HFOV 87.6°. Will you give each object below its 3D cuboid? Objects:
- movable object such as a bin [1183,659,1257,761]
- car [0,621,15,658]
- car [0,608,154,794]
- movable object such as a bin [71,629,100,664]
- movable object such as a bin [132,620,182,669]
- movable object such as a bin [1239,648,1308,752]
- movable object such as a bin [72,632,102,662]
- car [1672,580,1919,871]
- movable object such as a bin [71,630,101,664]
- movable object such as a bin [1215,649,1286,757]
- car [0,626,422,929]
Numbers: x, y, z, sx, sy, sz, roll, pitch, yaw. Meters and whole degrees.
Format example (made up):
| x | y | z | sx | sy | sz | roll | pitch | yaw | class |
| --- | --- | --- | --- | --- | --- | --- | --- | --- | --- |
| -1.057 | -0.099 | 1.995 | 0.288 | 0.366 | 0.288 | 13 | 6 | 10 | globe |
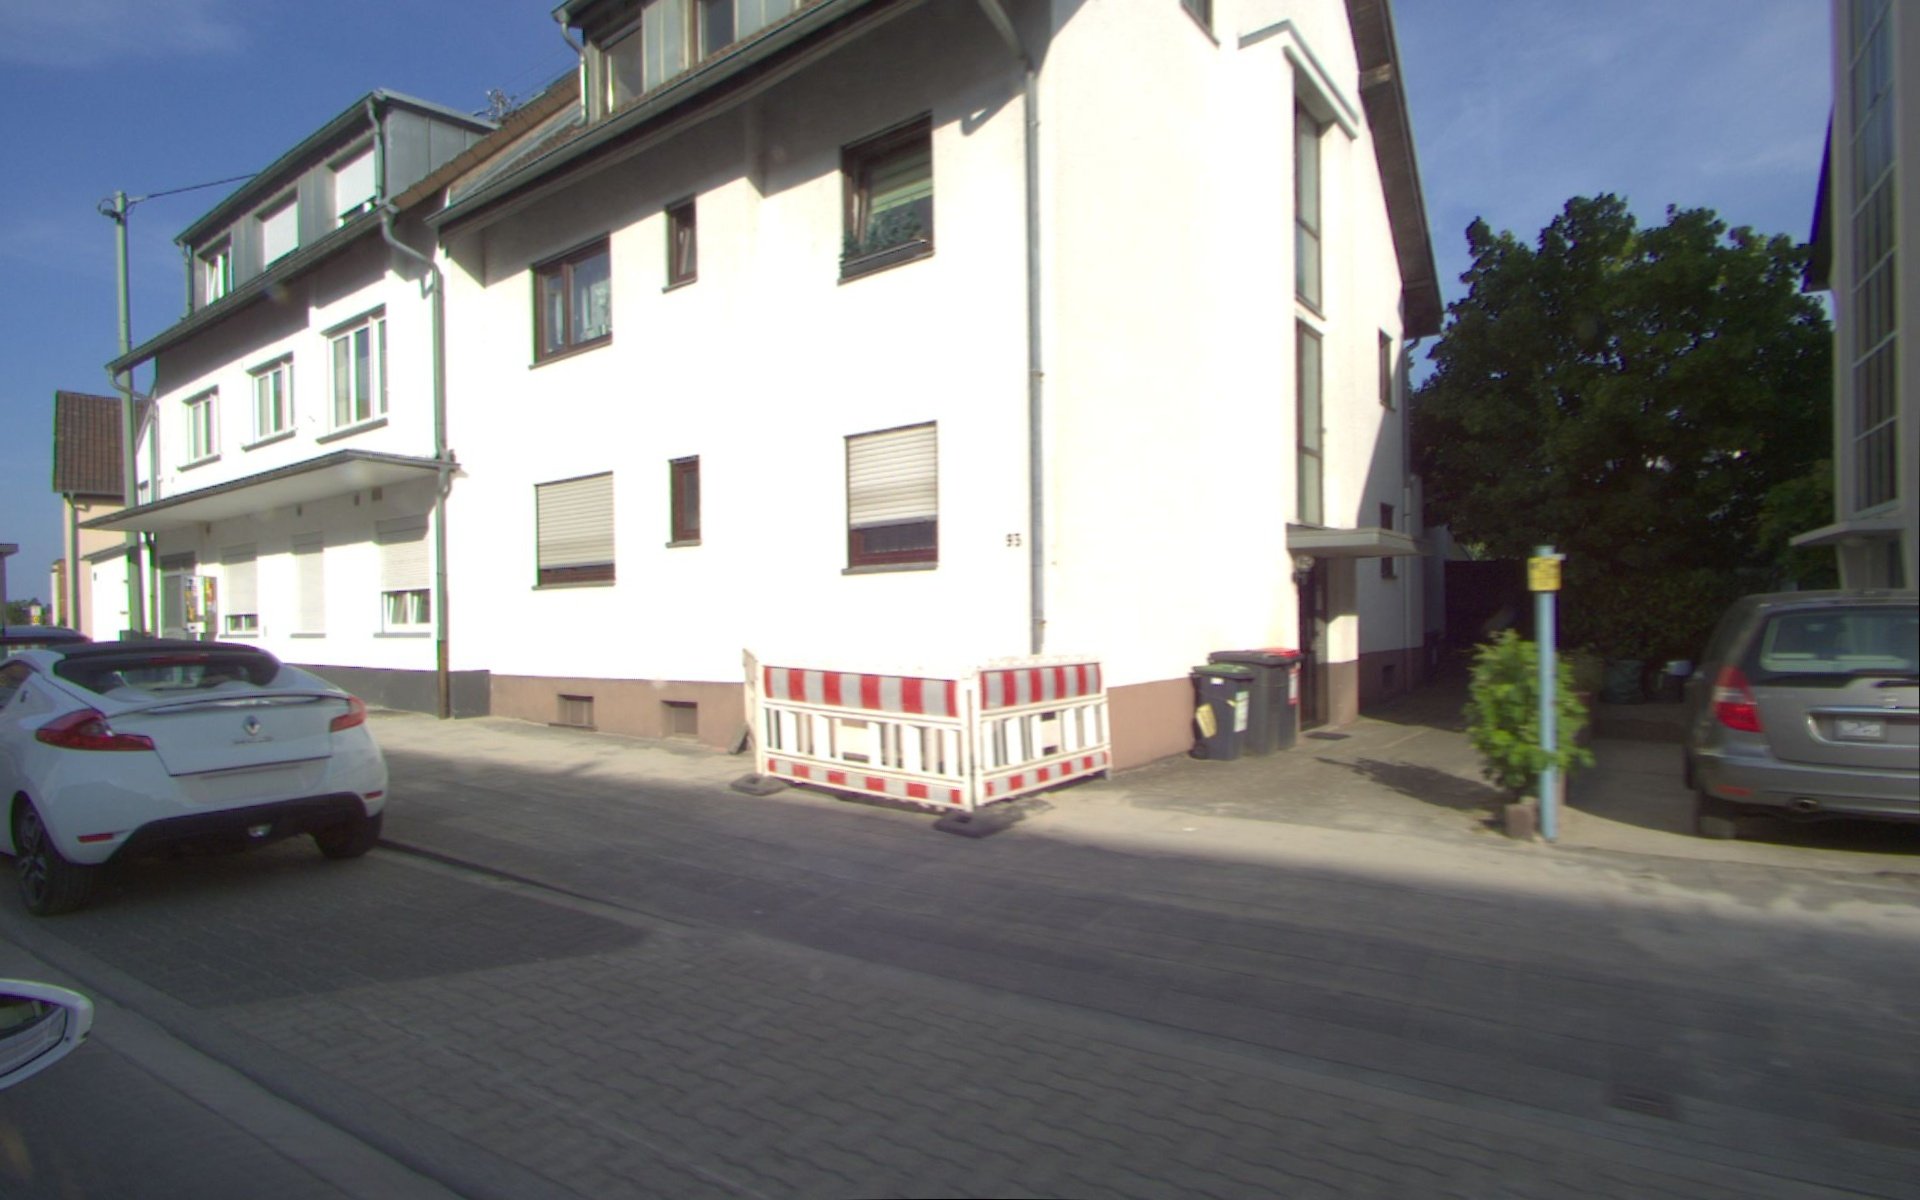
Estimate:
| x | y | z | sx | sy | sz | roll | pitch | yaw | class |
| --- | --- | --- | --- | --- | --- | --- | --- | --- | --- |
| 2.598 | 1.081 | 10.006 | 0.533 | 0.957 | 0.514 | 0 | -1 | 43 | movable object such as a bin |
| -50.066 | 2.037 | 51.252 | 2.058 | 1.880 | 4.573 | -2 | 0 | -39 | car |
| -9.086 | 0.846 | 9.248 | 3.869 | 1.440 | 1.601 | -1 | 2 | 37 | car |
| -29.732 | 1.578 | 34.028 | 0.723 | 1.146 | 0.548 | 0 | -1 | -44 | movable object such as a bin |
| -18.893 | 1.026 | 23.558 | 0.759 | 1.107 | 0.807 | -1 | 0 | 42 | movable object such as a bin |
| 3.363 | 1.050 | 10.734 | 0.533 | 1.064 | 0.514 | 0 | -1 | 43 | movable object such as a bin |
| -28.801 | 1.543 | 33.040 | 0.723 | 0.971 | 0.548 | 0 | -1 | -44 | movable object such as a bin |
| 6.193 | 0.734 | 7.071 | 1.770 | 1.586 | 3.732 | -1 | -2 | 34 | car |
| -29.316 | 1.572 | 33.581 | 0.723 | 1.107 | 0.548 | 0 | -1 | -44 | movable object such as a bin |
| 3.006 | 1.043 | 10.348 | 0.533 | 1.064 | 0.514 | 0 | -1 | 43 | movable object such as a bin |
| -5.564 | 0.894 | 6.659 | 4.274 | 1.416 | 1.711 | -1 | -2 | 34 | car |
